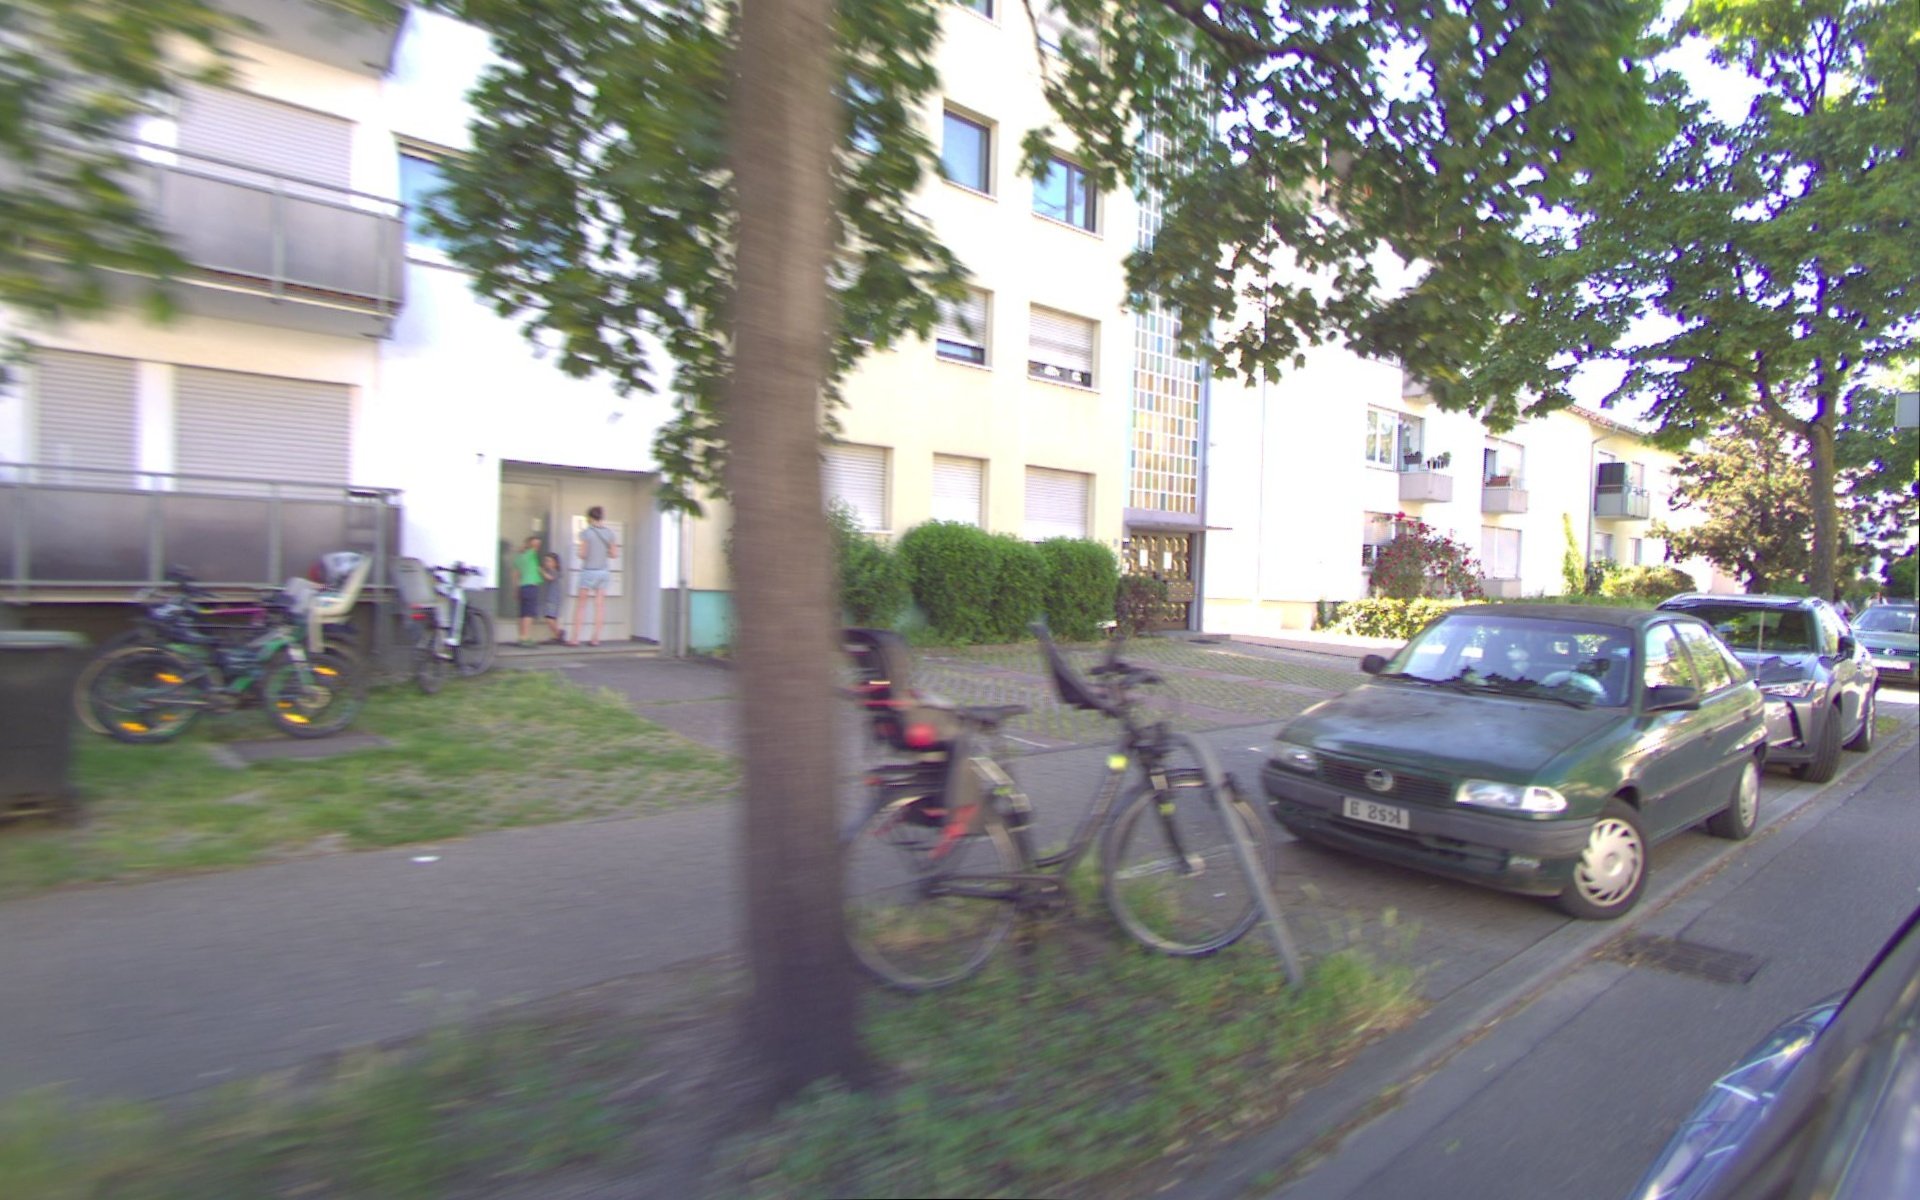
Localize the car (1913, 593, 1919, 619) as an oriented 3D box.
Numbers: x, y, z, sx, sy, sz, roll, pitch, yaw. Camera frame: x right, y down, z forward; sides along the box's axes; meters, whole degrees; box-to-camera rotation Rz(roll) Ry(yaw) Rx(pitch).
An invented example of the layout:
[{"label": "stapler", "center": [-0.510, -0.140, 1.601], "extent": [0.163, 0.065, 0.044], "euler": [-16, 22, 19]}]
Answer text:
[{"label": "car", "center": [54.593, 0.380, 56.551], "extent": [3.653, 1.372, 1.535], "euler": [0, 5, -41]}]

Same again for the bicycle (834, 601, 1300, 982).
[{"label": "bicycle", "center": [0.388, 0.664, 3.879], "extent": [1.641, 1.252, 0.470], "euler": [2, 1, 11]}]

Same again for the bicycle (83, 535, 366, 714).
[{"label": "bicycle", "center": [-5.983, 0.167, 8.303], "extent": [1.810, 1.302, 0.624], "euler": [0, 4, -41]}]

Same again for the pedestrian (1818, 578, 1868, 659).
[{"label": "pedestrian", "center": [19.280, 0.390, 22.096], "extent": [0.762, 1.703, 0.671], "euler": [0, 2, -41]}]

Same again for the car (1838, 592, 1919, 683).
[{"label": "car", "center": [17.218, 0.625, 18.042], "extent": [4.073, 1.445, 1.696], "euler": [0, 3, -40]}]

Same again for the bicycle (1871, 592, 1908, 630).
[{"label": "bicycle", "center": [32.424, 0.362, 35.285], "extent": [1.790, 1.262, 0.699], "euler": [0, 3, -41]}]

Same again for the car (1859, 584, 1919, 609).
[{"label": "car", "center": [67.918, -0.218, 73.236], "extent": [1.799, 1.458, 3.998], "euler": [0, 6, -40]}]

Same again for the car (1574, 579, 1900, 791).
[{"label": "car", "center": [7.426, 0.614, 9.513], "extent": [4.162, 1.507, 1.717], "euler": [0, 3, -43]}]

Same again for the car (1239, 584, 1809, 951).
[{"label": "car", "center": [3.473, 0.657, 5.909], "extent": [3.906, 1.400, 1.615], "euler": [0, 3, -41]}]

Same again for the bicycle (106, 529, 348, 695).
[{"label": "bicycle", "center": [-6.373, 0.082, 8.844], "extent": [1.660, 1.302, 0.593], "euler": [0, 4, -41]}]

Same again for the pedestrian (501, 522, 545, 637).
[{"label": "pedestrian", "center": [-5.413, -0.249, 12.539], "extent": [0.363, 1.401, 0.361], "euler": [-2, -1, 33]}]

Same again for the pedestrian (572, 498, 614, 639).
[{"label": "pedestrian", "center": [-4.663, -0.394, 12.858], "extent": [0.364, 1.759, 0.360], "euler": [-2, -2, 43]}]

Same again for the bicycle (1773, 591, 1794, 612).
[{"label": "bicycle", "center": [41.227, 0.063, 50.649], "extent": [1.713, 1.004, 0.456], "euler": [-2, 5, -41]}]

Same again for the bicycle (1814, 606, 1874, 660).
[{"label": "bicycle", "center": [19.462, 0.699, 22.266], "extent": [2.090, 1.083, 0.683], "euler": [0, 2, -41]}]

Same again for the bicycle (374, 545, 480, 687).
[{"label": "bicycle", "center": [-5.201, 0.108, 9.957], "extent": [0.454, 1.237, 1.544], "euler": [3, 4, -11]}]

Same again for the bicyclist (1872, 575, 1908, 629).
[{"label": "bicyclist", "center": [32.355, 0.074, 35.201], "extent": [0.998, 1.815, 0.725], "euler": [0, 3, -41]}]

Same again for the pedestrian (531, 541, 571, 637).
[{"label": "pedestrian", "center": [-5.260, -0.132, 13.014], "extent": [0.338, 1.212, 0.361], "euler": [-2, -1, 42]}]
